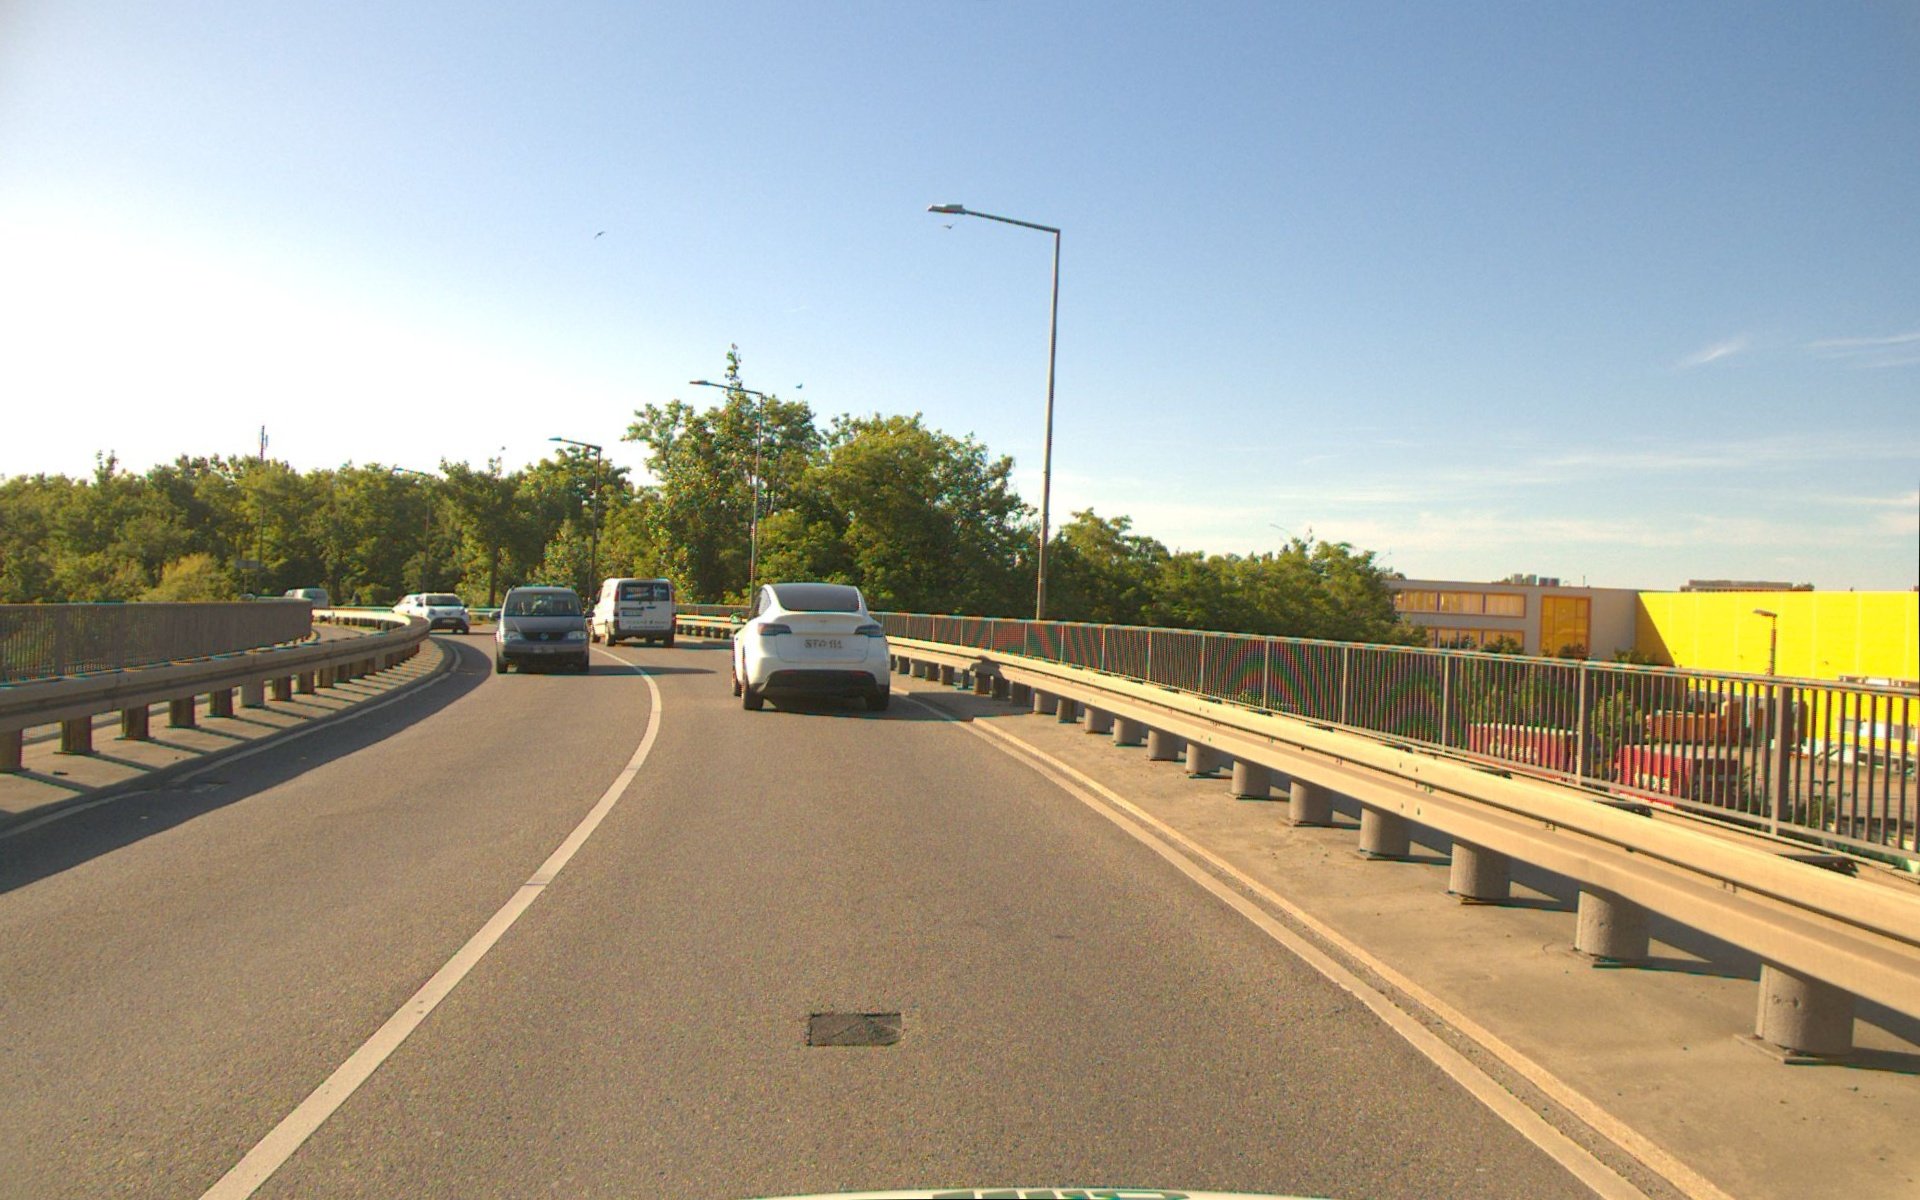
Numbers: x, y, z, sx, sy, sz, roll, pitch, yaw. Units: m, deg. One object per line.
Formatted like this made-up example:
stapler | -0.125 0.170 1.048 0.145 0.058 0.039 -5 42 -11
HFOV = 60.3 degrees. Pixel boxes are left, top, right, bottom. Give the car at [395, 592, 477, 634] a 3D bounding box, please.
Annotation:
car | -19.990 0.475 63.013 1.824 1.545 3.718 0 0 -38

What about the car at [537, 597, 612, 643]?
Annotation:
car | -14.699 0.746 62.919 1.945 1.666 3.966 -1 0 -26

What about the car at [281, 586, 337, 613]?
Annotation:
car | -38.162 -0.035 96.880 1.826 1.583 3.832 0 0 -43

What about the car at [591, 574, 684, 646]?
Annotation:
car | -9.315 0.256 47.540 1.976 1.974 4.441 0 0 -20

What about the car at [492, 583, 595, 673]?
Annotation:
car | -8.264 0.500 32.621 1.819 1.651 4.084 0 0 -16

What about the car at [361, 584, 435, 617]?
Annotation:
car | -28.042 0.023 82.444 3.843 1.612 1.855 0 0 41

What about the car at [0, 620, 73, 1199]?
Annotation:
car | -2.893 0.748 1.888 1.710 1.379 4.179 0 0 -4

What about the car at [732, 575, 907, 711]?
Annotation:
car | -1.999 0.525 22.391 1.950 1.666 4.051 0 0 -11
